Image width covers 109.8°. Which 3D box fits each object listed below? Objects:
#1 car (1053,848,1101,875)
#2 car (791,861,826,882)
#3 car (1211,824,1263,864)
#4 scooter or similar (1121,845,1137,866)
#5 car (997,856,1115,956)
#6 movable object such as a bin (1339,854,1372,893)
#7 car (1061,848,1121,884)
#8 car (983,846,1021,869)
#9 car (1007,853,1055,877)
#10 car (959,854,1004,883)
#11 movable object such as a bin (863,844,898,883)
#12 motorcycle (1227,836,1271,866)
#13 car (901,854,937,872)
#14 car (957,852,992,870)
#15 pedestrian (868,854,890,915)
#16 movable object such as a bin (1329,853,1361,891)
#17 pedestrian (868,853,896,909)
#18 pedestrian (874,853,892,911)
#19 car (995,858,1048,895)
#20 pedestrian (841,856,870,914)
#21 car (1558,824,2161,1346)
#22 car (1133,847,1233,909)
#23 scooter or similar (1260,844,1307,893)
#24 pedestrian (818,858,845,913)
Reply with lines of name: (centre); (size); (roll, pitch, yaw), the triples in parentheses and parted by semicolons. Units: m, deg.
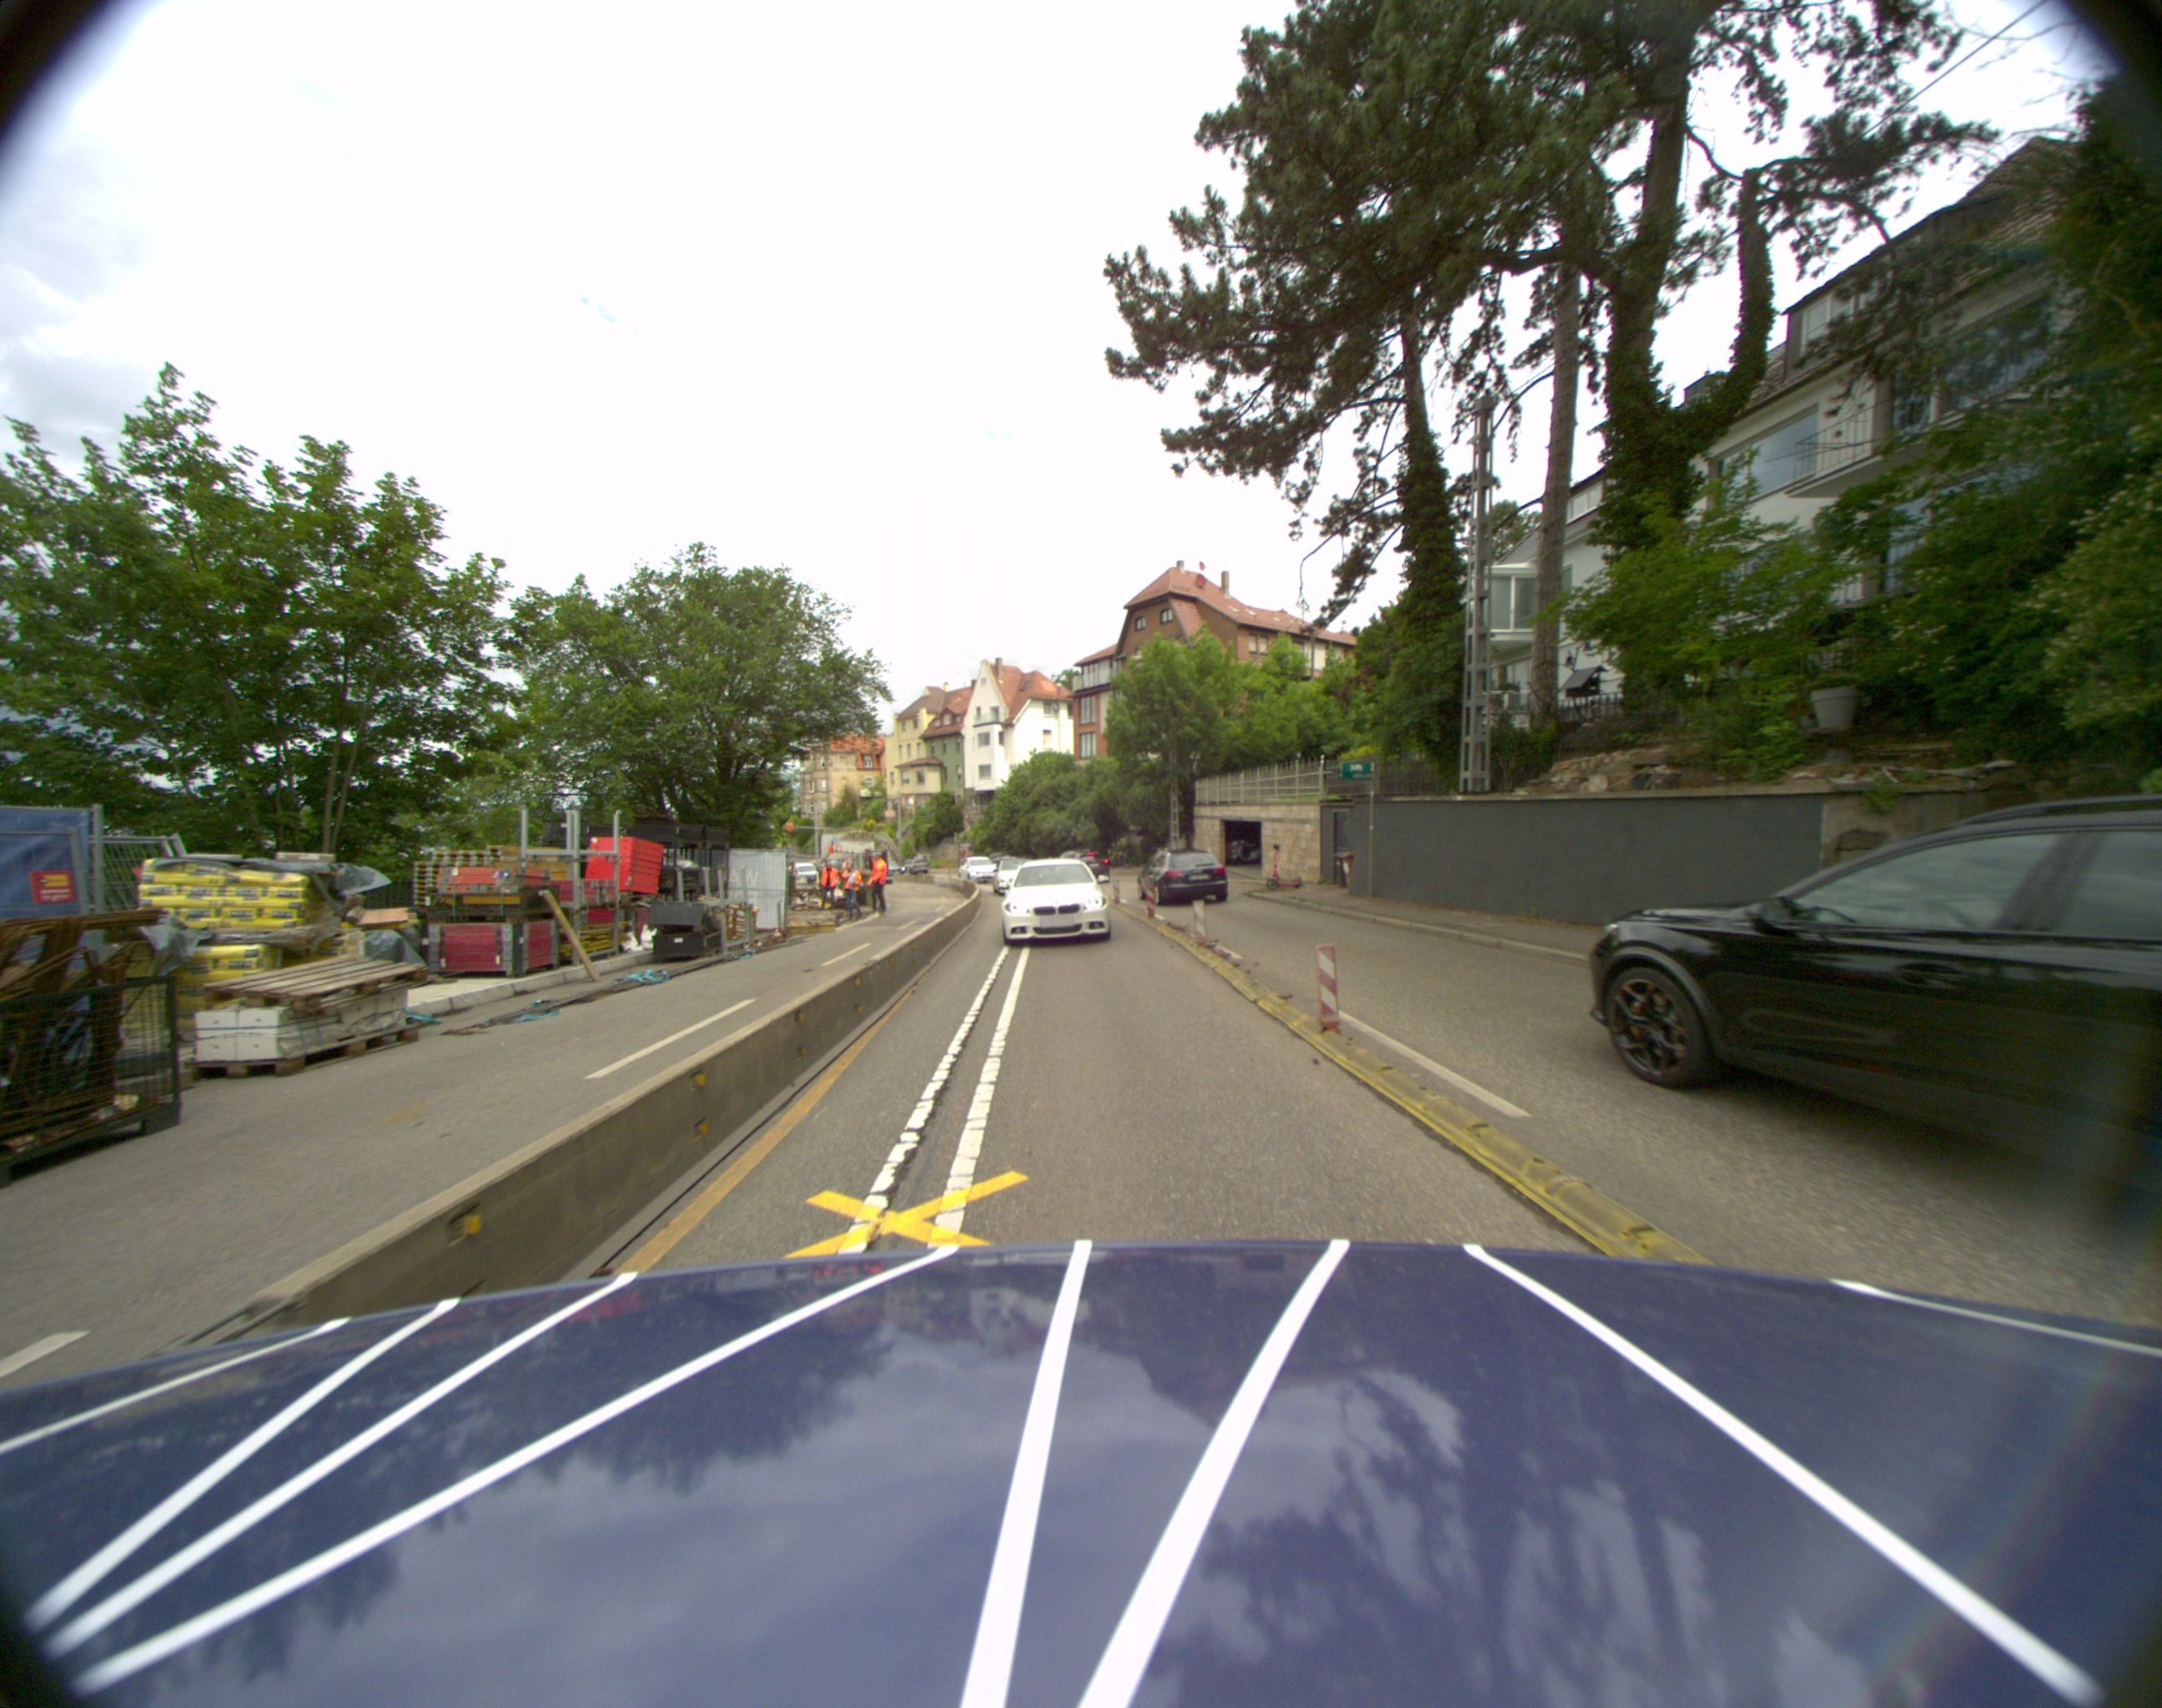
car: (-0.283, 0.460, 48.588); (1.825, 1.426, 3.709); (-7, 2, -19)
car: (-23.621, 1.549, 65.860); (1.796, 1.676, 3.990); (-4, 1, -35)
car: (7.488, -0.540, 36.802); (1.573, 1.596, 3.583); (-4, 5, -3)
scooter or similar: (2.993, 0.104, 47.813); (0.406, 1.250, 0.962); (-8, 3, -30)
car: (-0.389, 0.865, 14.895); (1.852, 1.458, 4.878); (-3, 1, 0)
movable object such as a bin: (6.928, 0.474, 19.220); (0.544, 0.933, 0.601); (-3, 1, -4)
car: (0.428, 0.566, 36.365); (1.765, 1.520, 3.905); (-4, 1, -15)
car: (-6.522, 0.303, 62.323); (1.771, 1.587, 3.783); (-8, 3, -26)
car: (-3.396, 0.721, 50.936); (1.871, 1.446, 4.211); (-4, 1, -22)
car: (-6.047, 0.826, 45.789); (1.888, 1.569, 3.993); (-4, 1, -19)
movable object such as a bin: (-14.253, 0.667, 53.930); (1.866, 2.580, 3.434); (-4, 1, -22)
motorcycle: (7.646, -0.138, 34.634); (1.843, 1.177, 0.636); (-3, 5, 1)
car: (-15.485, 0.885, 72.363); (1.803, 1.462, 4.190); (-4, 1, -35)
car: (-9.545, 0.650, 67.933); (1.685, 1.409, 3.783); (-8, 3, -30)
pedestrian: (-6.271, 0.939, 23.624); (0.640, 1.848, 0.834); (0, 0, -14)
movable object such as a bin: (6.887, 0.460, 19.824); (0.544, 0.933, 0.601); (-3, 1, -4)
pedestrian: (-6.747, 0.926, 25.724); (0.620, 1.873, 0.717); (0, -2, -43)
pedestrian: (-6.425, 0.902, 24.684); (0.527, 1.832, 0.795); (0, 0, -14)
car: (-2.534, 0.895, 31.602); (1.799, 1.299, 4.096); (-2, 1, -10)
pedestrian: (-7.560, 1.038, 25.451); (0.732, 1.880, 0.618); (-5, 0, -21)
car: (4.073, 0.666, 2.735); (1.833, 1.476, 4.316); (-4, 1, -2)
car: (2.709, 0.585, 21.225); (1.796, 1.456, 4.507); (-3, 0, -4)
scooter or similar: (5.450, 0.384, 20.460); (1.217, 1.225, 0.493); (-4, 1, -35)
pedestrian: (-8.433, 1.051, 25.663); (0.647, 1.784, 0.642); (-5, 2, -28)
